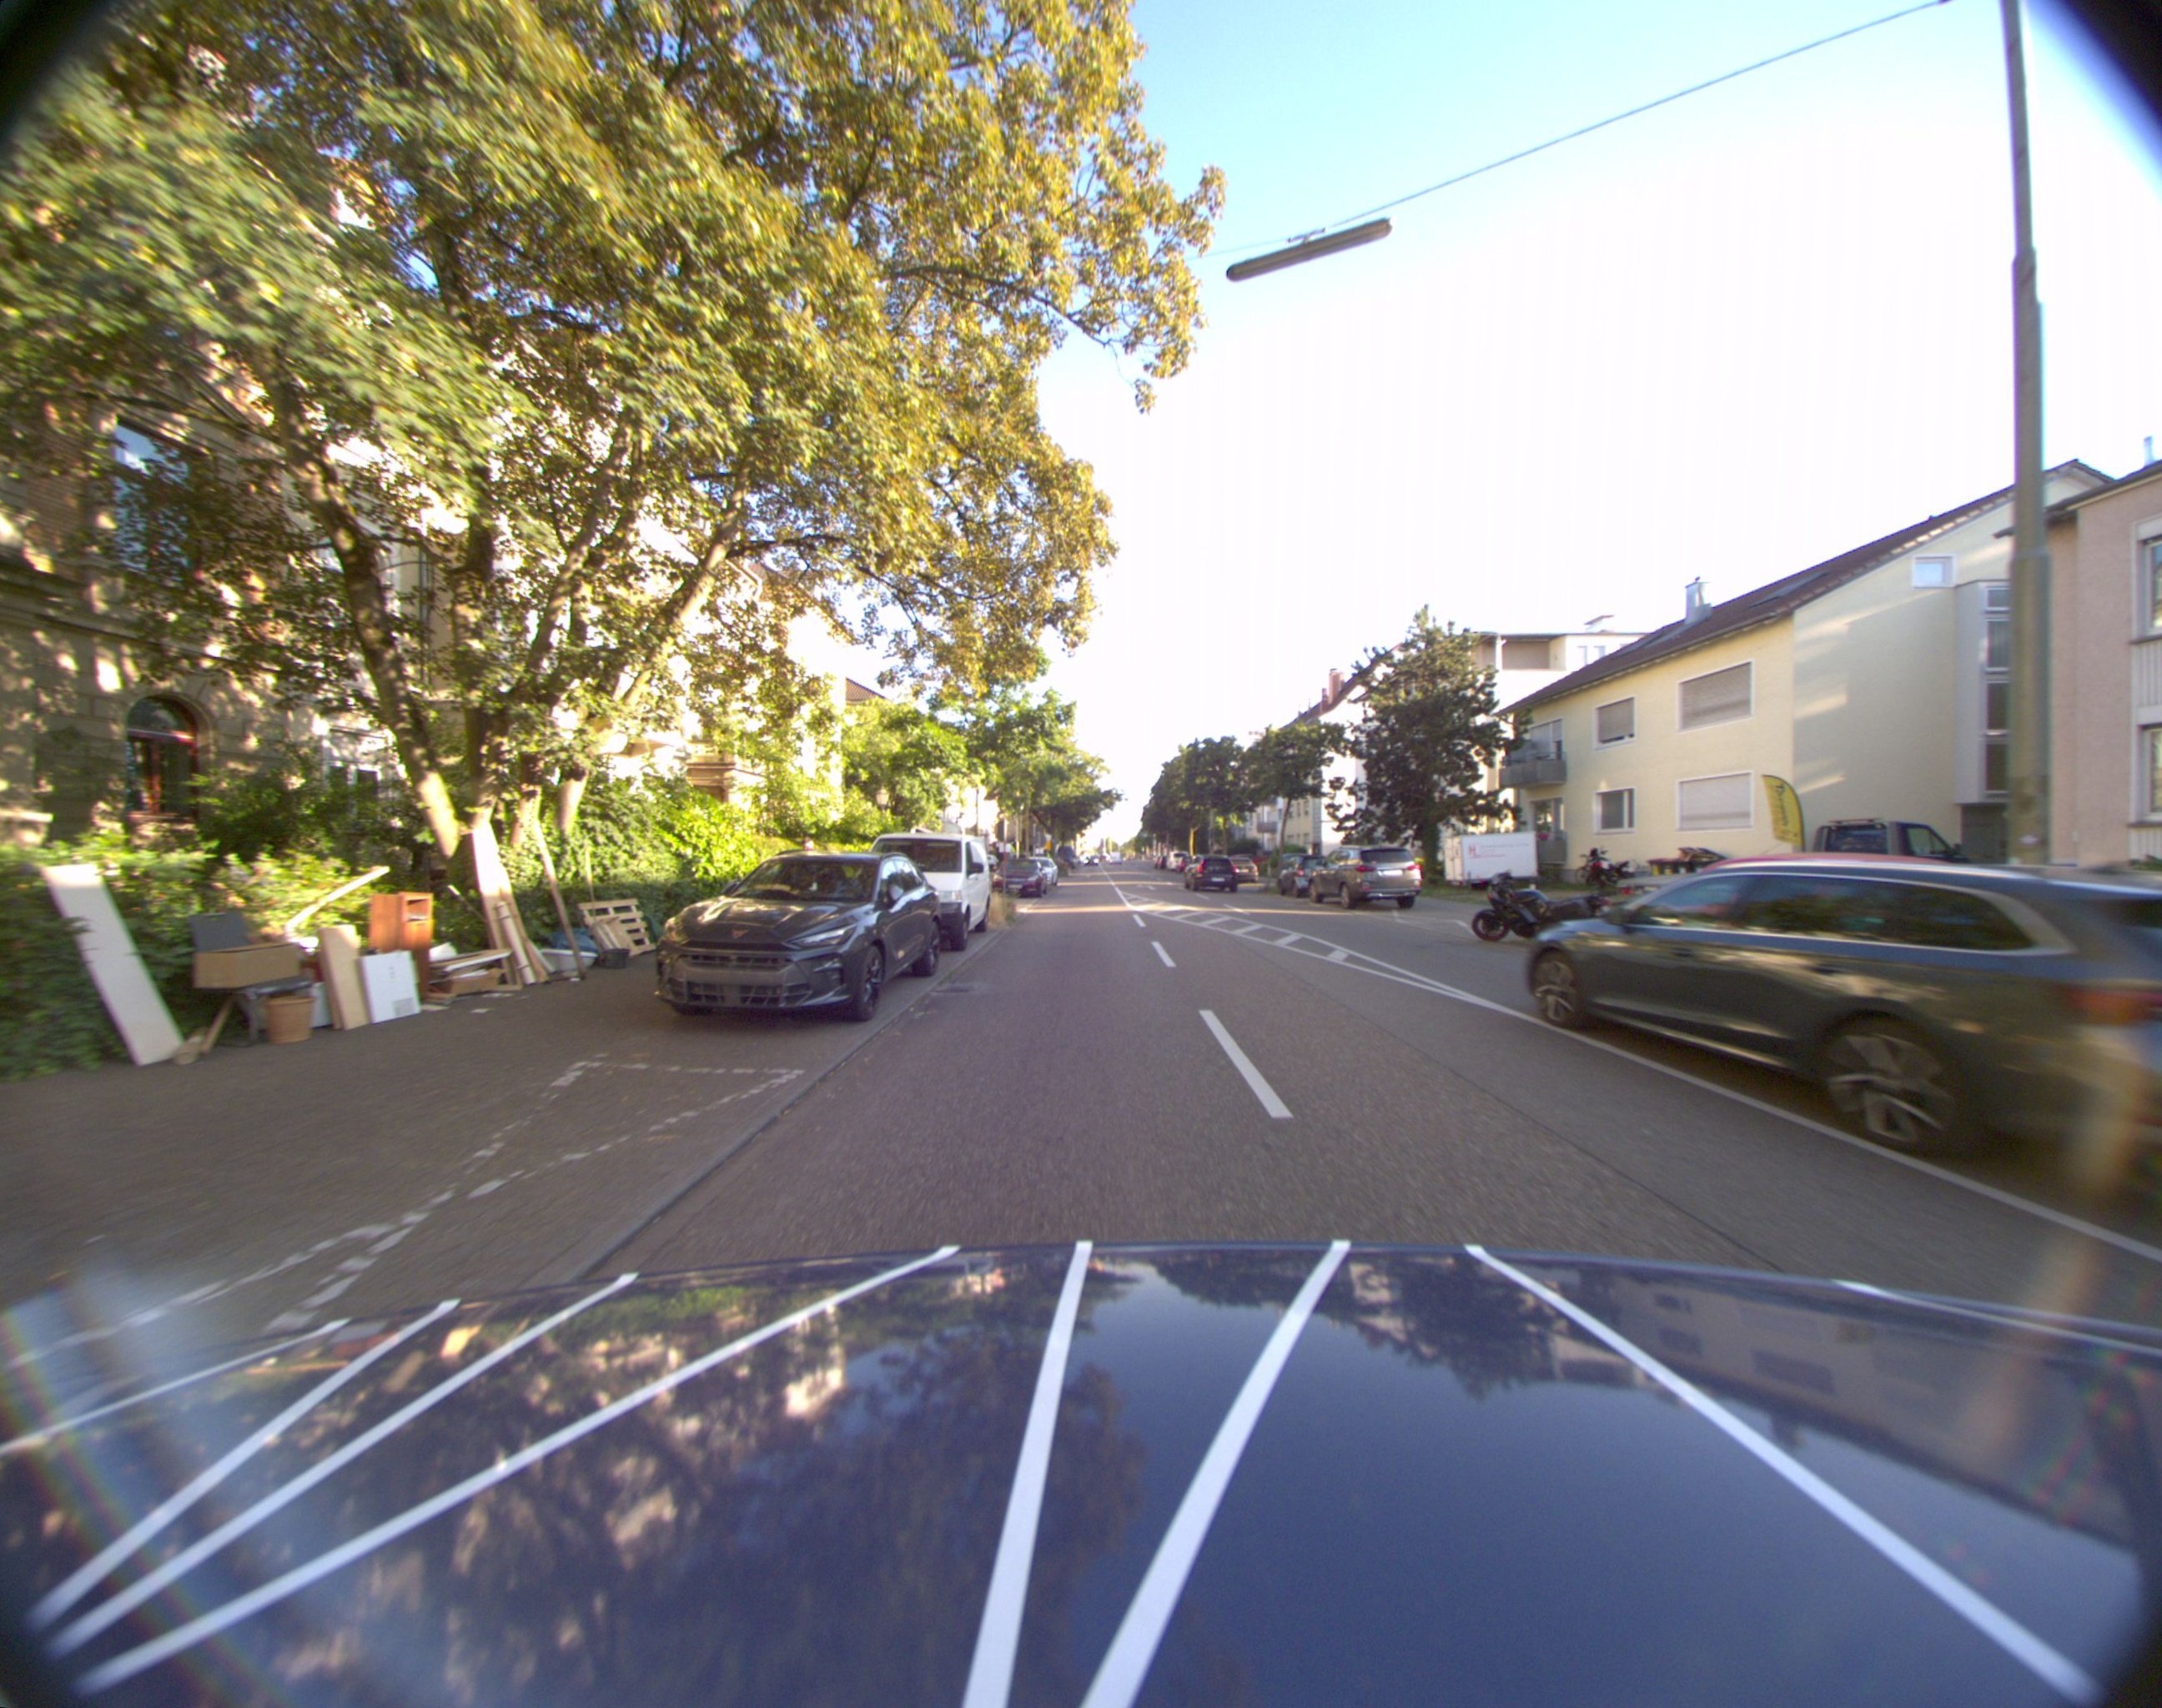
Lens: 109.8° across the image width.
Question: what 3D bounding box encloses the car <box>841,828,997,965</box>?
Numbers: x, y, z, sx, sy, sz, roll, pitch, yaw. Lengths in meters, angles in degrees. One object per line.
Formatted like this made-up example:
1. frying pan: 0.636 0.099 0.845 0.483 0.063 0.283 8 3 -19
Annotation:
1. car: -2.761 0.649 14.070 1.908 2.091 4.640 -1 0 -1

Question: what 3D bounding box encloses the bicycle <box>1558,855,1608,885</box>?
1. bicycle: 18.737 0.588 28.398 0.520 1.057 2.046 -1 0 1

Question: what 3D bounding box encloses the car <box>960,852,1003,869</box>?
1. car: -9.250 0.595 71.078 3.877 1.496 1.575 -1 1 -4

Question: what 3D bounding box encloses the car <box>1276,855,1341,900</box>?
1. car: 8.374 0.834 28.213 1.577 1.546 2.749 -1 0 0

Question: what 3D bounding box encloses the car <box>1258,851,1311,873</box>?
1. car: 14.815 0.576 55.437 3.467 1.515 1.686 0 0 2

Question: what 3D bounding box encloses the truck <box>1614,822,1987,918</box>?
1. truck: 17.309 0.368 18.590 6.911 2.172 2.276 0 0 1

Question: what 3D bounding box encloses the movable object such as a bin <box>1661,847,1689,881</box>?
1. movable object such as a bin: 18.337 0.305 23.458 0.504 1.013 0.450 0 1 0

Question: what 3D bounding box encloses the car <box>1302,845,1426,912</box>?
1. car: 8.228 0.649 22.616 1.892 1.769 4.726 -1 0 0

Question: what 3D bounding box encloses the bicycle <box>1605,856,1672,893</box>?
1. bicycle: 18.267 0.639 24.966 0.572 1.134 2.258 -1 0 1

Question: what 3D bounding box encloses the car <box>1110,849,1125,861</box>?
1. car: 5.641 0.085 117.950 1.893 1.793 4.430 1 0 -1

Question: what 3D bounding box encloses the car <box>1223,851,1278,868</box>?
1. car: 15.485 0.501 69.626 4.563 1.397 1.739 -2 1 -9

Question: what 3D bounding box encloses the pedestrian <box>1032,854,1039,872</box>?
1. pedestrian: -4.565 0.860 75.563 0.619 1.761 0.562 0 0 2

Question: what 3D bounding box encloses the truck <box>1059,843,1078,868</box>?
1. truck: -1.349 0.139 84.151 1.998 2.629 5.616 -1 0 1

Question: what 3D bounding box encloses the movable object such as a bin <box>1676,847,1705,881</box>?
1. movable object such as a bin: 18.378 0.305 22.909 0.504 1.013 0.450 0 1 0

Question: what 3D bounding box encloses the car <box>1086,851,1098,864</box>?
1. car: 1.544 0.412 103.343 1.596 1.696 4.000 0 0 1

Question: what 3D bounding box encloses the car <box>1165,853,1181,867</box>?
1. car: 9.841 0.608 81.638 1.407 1.397 3.683 0 0 2

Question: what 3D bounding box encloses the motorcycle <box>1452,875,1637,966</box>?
1. motorcycle: 7.563 1.024 12.570 1.184 1.258 2.365 0 0 -23

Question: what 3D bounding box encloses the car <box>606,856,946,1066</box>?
1. car: -2.827 0.864 8.229 1.860 1.594 4.311 2 0 1

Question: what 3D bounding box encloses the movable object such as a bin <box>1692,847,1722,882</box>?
1. movable object such as a bin: 18.378 0.304 22.325 0.504 1.013 0.450 0 1 0

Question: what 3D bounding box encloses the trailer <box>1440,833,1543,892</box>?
1. trailer: 14.306 0.276 26.573 2.780 2.002 1.552 0 1 -1

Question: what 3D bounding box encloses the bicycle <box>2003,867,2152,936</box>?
1. bicycle: 17.131 0.785 13.129 0.333 1.080 1.711 0 0 1

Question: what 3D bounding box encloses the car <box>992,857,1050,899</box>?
1. car: -2.232 0.866 29.364 1.761 1.412 4.614 2 0 1

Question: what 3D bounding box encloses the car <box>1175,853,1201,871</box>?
1. car: 9.016 0.678 64.307 1.740 1.455 3.636 -1 0 1

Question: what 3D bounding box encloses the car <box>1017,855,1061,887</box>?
1. car: -2.026 0.819 38.024 1.825 1.469 4.621 -1 0 1

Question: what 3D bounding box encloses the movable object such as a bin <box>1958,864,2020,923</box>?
1. movable object such as a bin: 17.319 0.748 14.504 0.490 1.084 0.586 0 1 1

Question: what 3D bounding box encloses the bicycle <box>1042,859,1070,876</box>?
1. bicycle: -1.794 0.952 53.956 1.894 1.155 0.616 1 1 28

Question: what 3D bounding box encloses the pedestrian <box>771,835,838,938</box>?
1. pedestrian: -4.975 0.562 13.727 0.823 1.763 1.089 -1 1 -3

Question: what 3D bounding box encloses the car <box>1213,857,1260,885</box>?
1. car: 8.324 0.885 40.917 1.641 1.399 4.444 -1 0 1

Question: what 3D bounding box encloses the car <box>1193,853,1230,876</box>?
1. car: 8.843 0.707 51.707 1.862 1.477 4.000 0 0 0

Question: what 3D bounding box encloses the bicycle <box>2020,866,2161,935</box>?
1. bicycle: 17.493 0.771 13.168 0.333 1.080 1.711 0 0 1

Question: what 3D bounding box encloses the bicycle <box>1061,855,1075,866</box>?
1. bicycle: -1.415 0.693 80.546 1.469 1.058 0.445 0 1 1

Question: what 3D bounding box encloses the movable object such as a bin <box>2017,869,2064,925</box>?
1. movable object such as a bin: 18.011 0.798 14.271 0.436 1.032 0.349 0 1 1

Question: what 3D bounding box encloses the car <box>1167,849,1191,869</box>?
1. car: 9.150 0.488 71.396 1.740 1.799 4.192 -1 0 1

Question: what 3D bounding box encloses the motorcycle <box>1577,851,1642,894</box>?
1. motorcycle: 17.347 0.578 25.005 0.572 1.366 2.258 0 0 1

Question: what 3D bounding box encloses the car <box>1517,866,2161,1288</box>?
1. car: 4.813 0.857 4.596 1.765 1.443 4.534 2 0 1

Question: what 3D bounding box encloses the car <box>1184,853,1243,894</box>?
1. car: 5.633 0.778 32.739 1.840 1.561 3.999 1 1 1

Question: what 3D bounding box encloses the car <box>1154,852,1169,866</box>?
1. car: 9.145 0.594 86.690 1.407 1.456 3.683 -2 1 2

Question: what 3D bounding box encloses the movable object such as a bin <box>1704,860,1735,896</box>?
1. movable object such as a bin: 18.290 0.687 21.758 0.504 1.013 0.450 0 1 0

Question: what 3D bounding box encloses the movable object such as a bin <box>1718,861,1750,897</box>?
1. movable object such as a bin: 18.266 0.695 21.256 0.504 1.013 0.450 0 1 0

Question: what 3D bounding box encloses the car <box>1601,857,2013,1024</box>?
1. car: 7.878 0.811 8.748 1.596 1.514 3.437 -1 0 4
